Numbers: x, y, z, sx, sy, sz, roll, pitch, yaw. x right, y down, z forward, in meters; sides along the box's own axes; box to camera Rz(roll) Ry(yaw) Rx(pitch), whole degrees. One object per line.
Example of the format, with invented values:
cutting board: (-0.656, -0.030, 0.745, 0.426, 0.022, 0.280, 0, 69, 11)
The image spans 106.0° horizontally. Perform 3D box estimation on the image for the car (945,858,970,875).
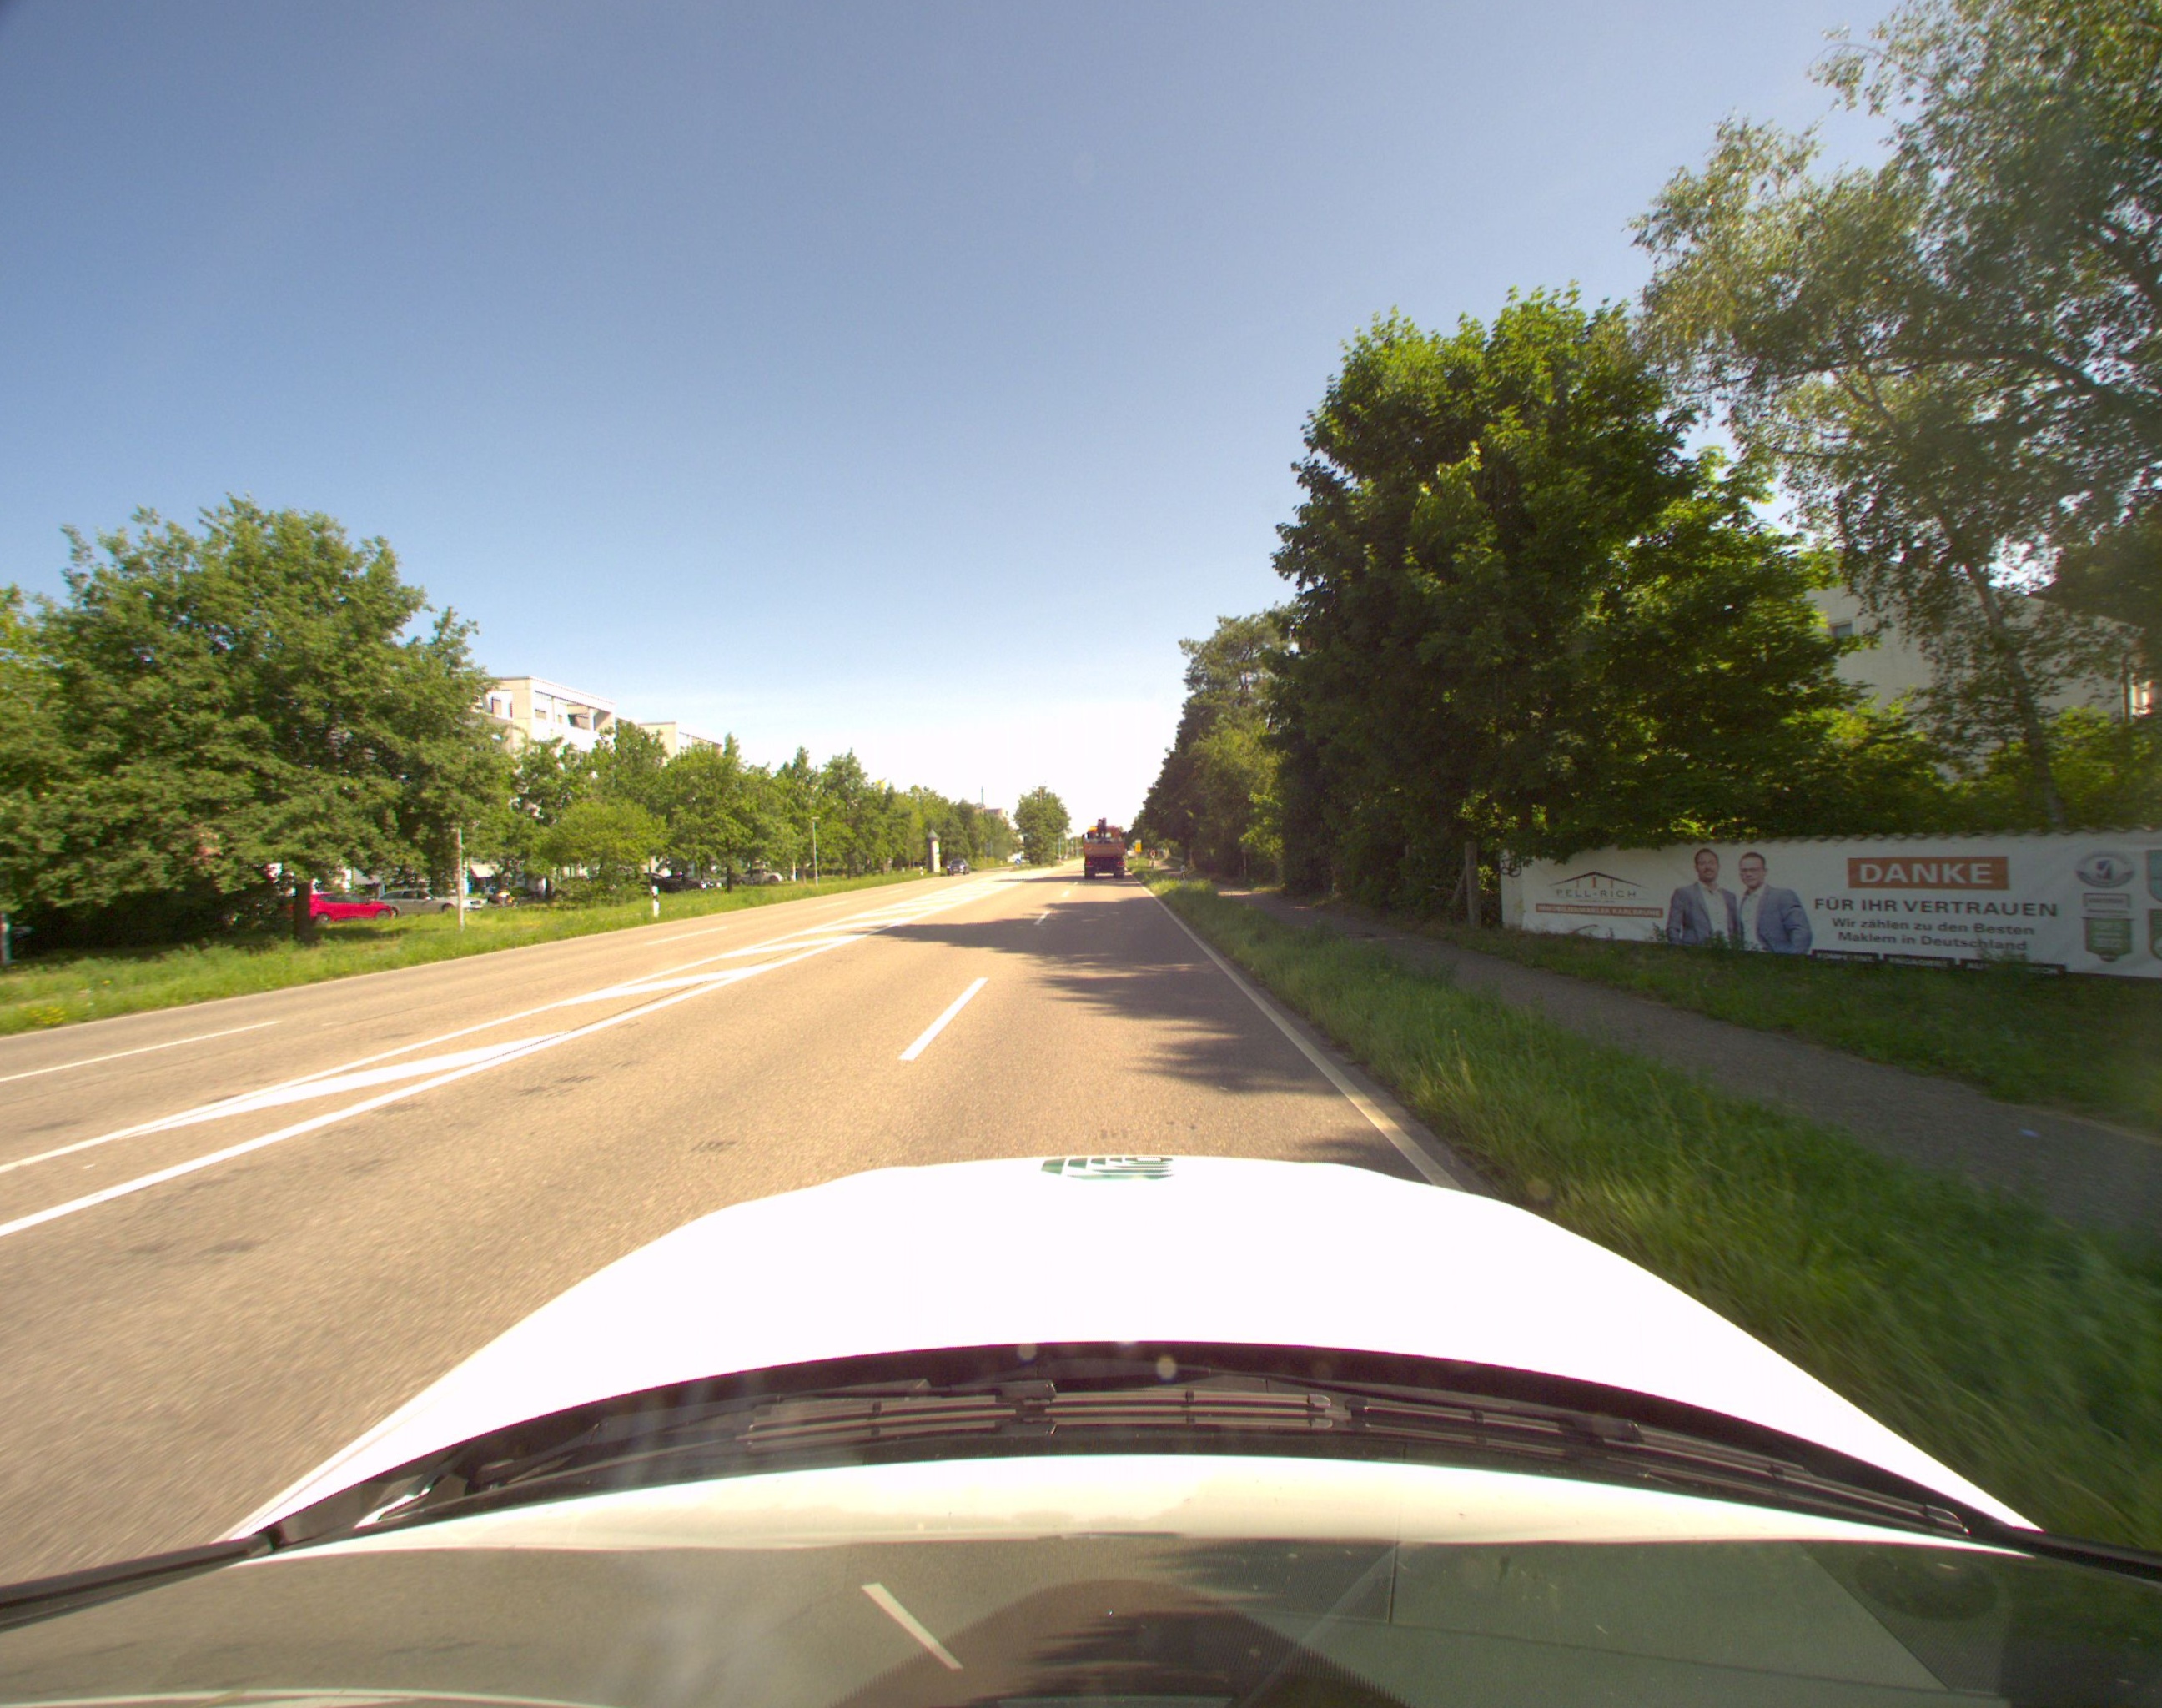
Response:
car: (-12.573, 1.233, 82.964, 1.794, 1.572, 4.001, -3, 0, 1)

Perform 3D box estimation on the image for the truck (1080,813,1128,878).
truck: (1.365, -0.531, 52.346, 2.863, 3.880, 7.398, 0, 0, 0)

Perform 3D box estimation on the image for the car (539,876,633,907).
car: (-30.765, 2.336, 50.686, 4.578, 1.650, 2.001, -2, 0, 1)

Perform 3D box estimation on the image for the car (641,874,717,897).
car: (-29.840, 2.356, 60.605, 4.578, 1.437, 2.001, -2, 0, 1)

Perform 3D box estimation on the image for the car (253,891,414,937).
car: (-29.946, 2.357, 32.857, 1.985, 1.437, 4.615, -2, 0, 4)

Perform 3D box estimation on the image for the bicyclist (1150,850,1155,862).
bicyclist: (10.280, 0.286, 116.656, 0.556, 1.558, 0.558, -3, 0, 1)

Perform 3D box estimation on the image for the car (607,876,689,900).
car: (-30.239, 2.361, 56.961, 4.578, 1.437, 2.001, -2, 0, 1)

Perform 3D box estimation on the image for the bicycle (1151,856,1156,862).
bicycle: (10.318, 0.784, 116.673, 0.556, 0.816, 1.964, -3, 0, 1)

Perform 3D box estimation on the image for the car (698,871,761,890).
car: (-30.717, 2.294, 71.287, 4.578, 1.437, 2.001, -2, 0, 1)

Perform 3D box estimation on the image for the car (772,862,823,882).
car: (-29.367, 1.856, 84.370, 4.512, 1.757, 2.003, -3, 0, 4)

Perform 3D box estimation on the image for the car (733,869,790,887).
car: (-30.458, 2.279, 77.726, 4.578, 1.437, 2.001, -2, 0, 1)

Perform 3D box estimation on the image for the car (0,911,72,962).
car: (-34.419, 2.655, 24.606, 1.986, 1.437, 4.612, -2, 0, 2)

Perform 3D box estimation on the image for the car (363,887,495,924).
car: (-30.901, 2.438, 38.682, 4.578, 1.437, 2.001, -2, 0, 1)
